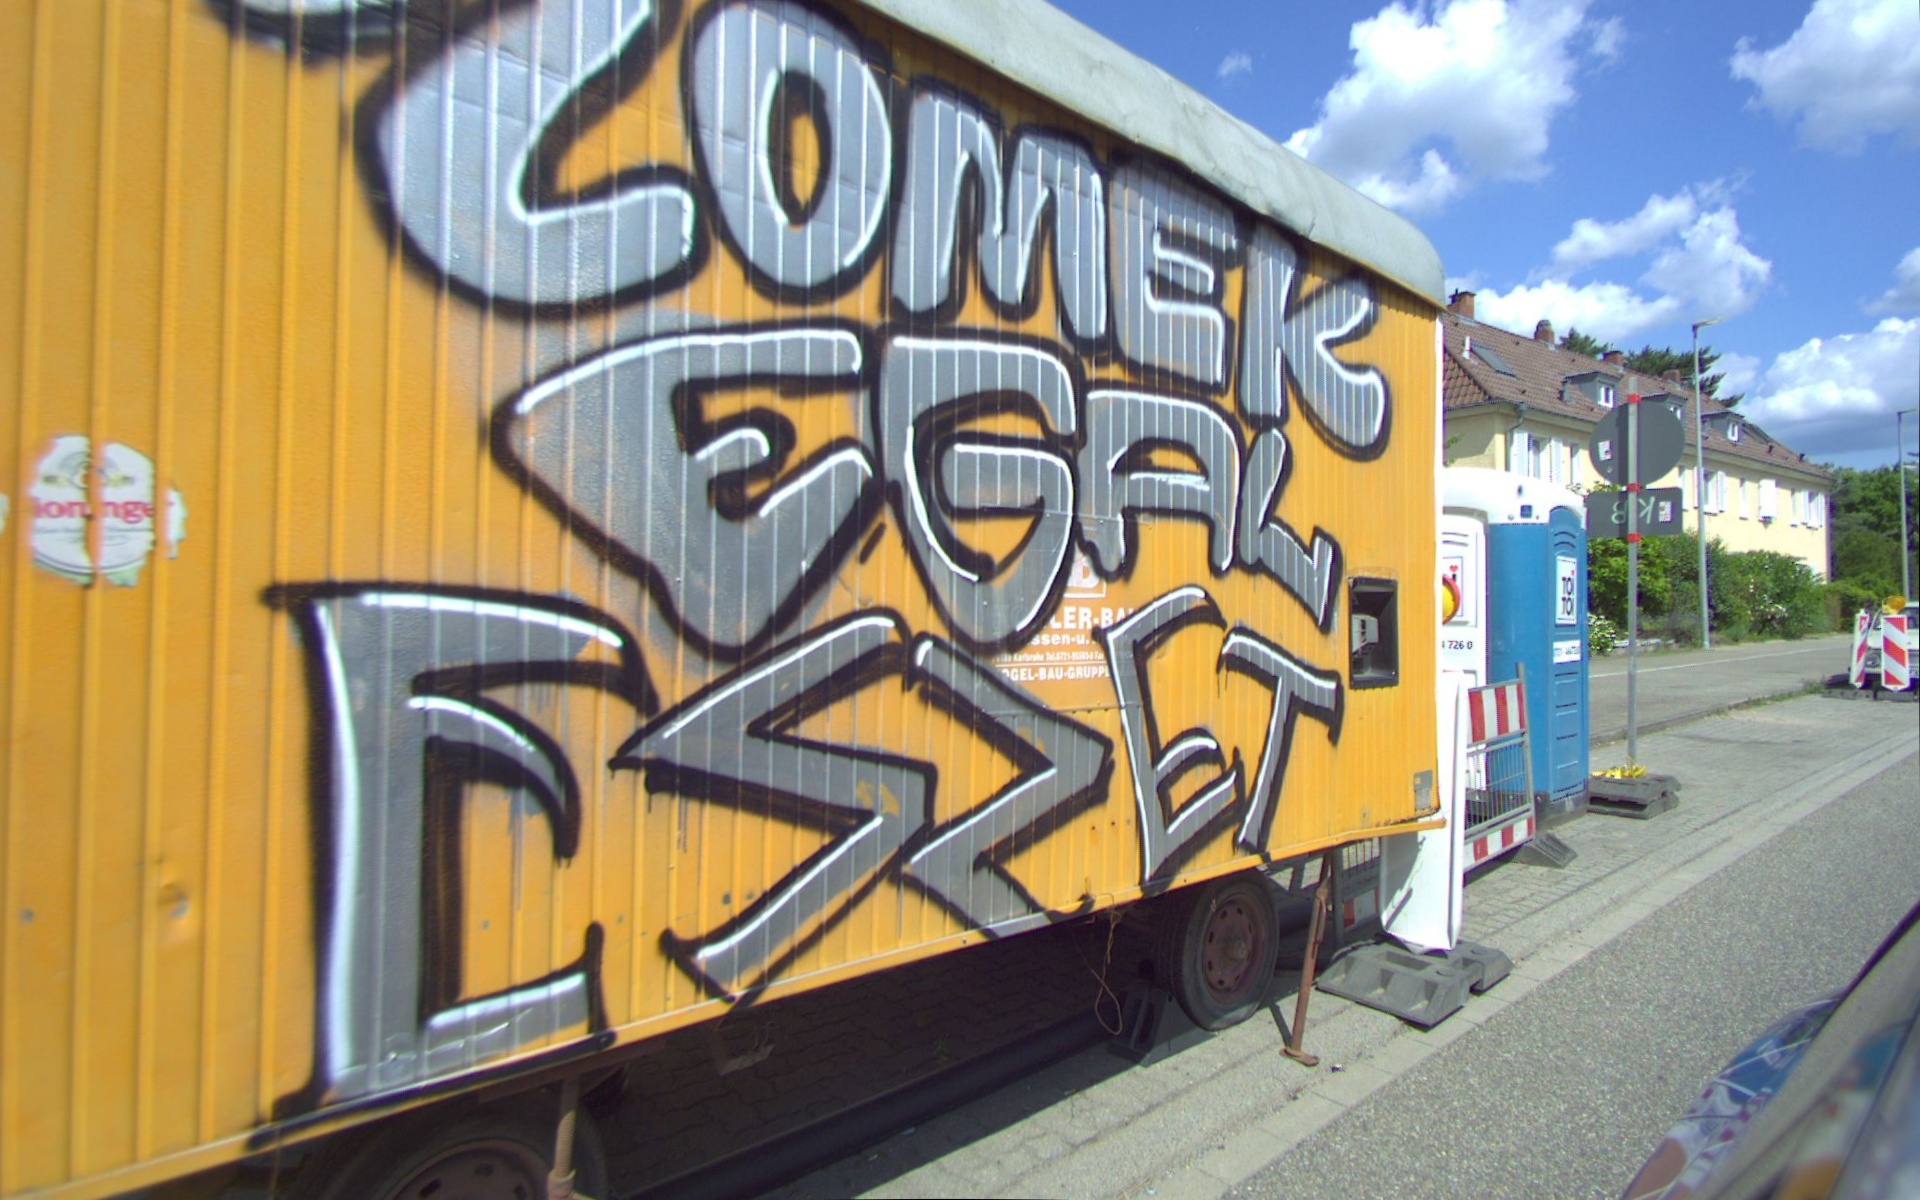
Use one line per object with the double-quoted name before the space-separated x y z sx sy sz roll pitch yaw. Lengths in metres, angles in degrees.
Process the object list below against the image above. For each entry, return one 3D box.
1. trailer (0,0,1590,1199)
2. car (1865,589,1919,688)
"trailer" -0.333 -0.185 3.266 4.994 3.268 2.694 0 -1 -42
"car" 16.289 0.578 16.639 4.035 1.521 1.466 0 0 -39
